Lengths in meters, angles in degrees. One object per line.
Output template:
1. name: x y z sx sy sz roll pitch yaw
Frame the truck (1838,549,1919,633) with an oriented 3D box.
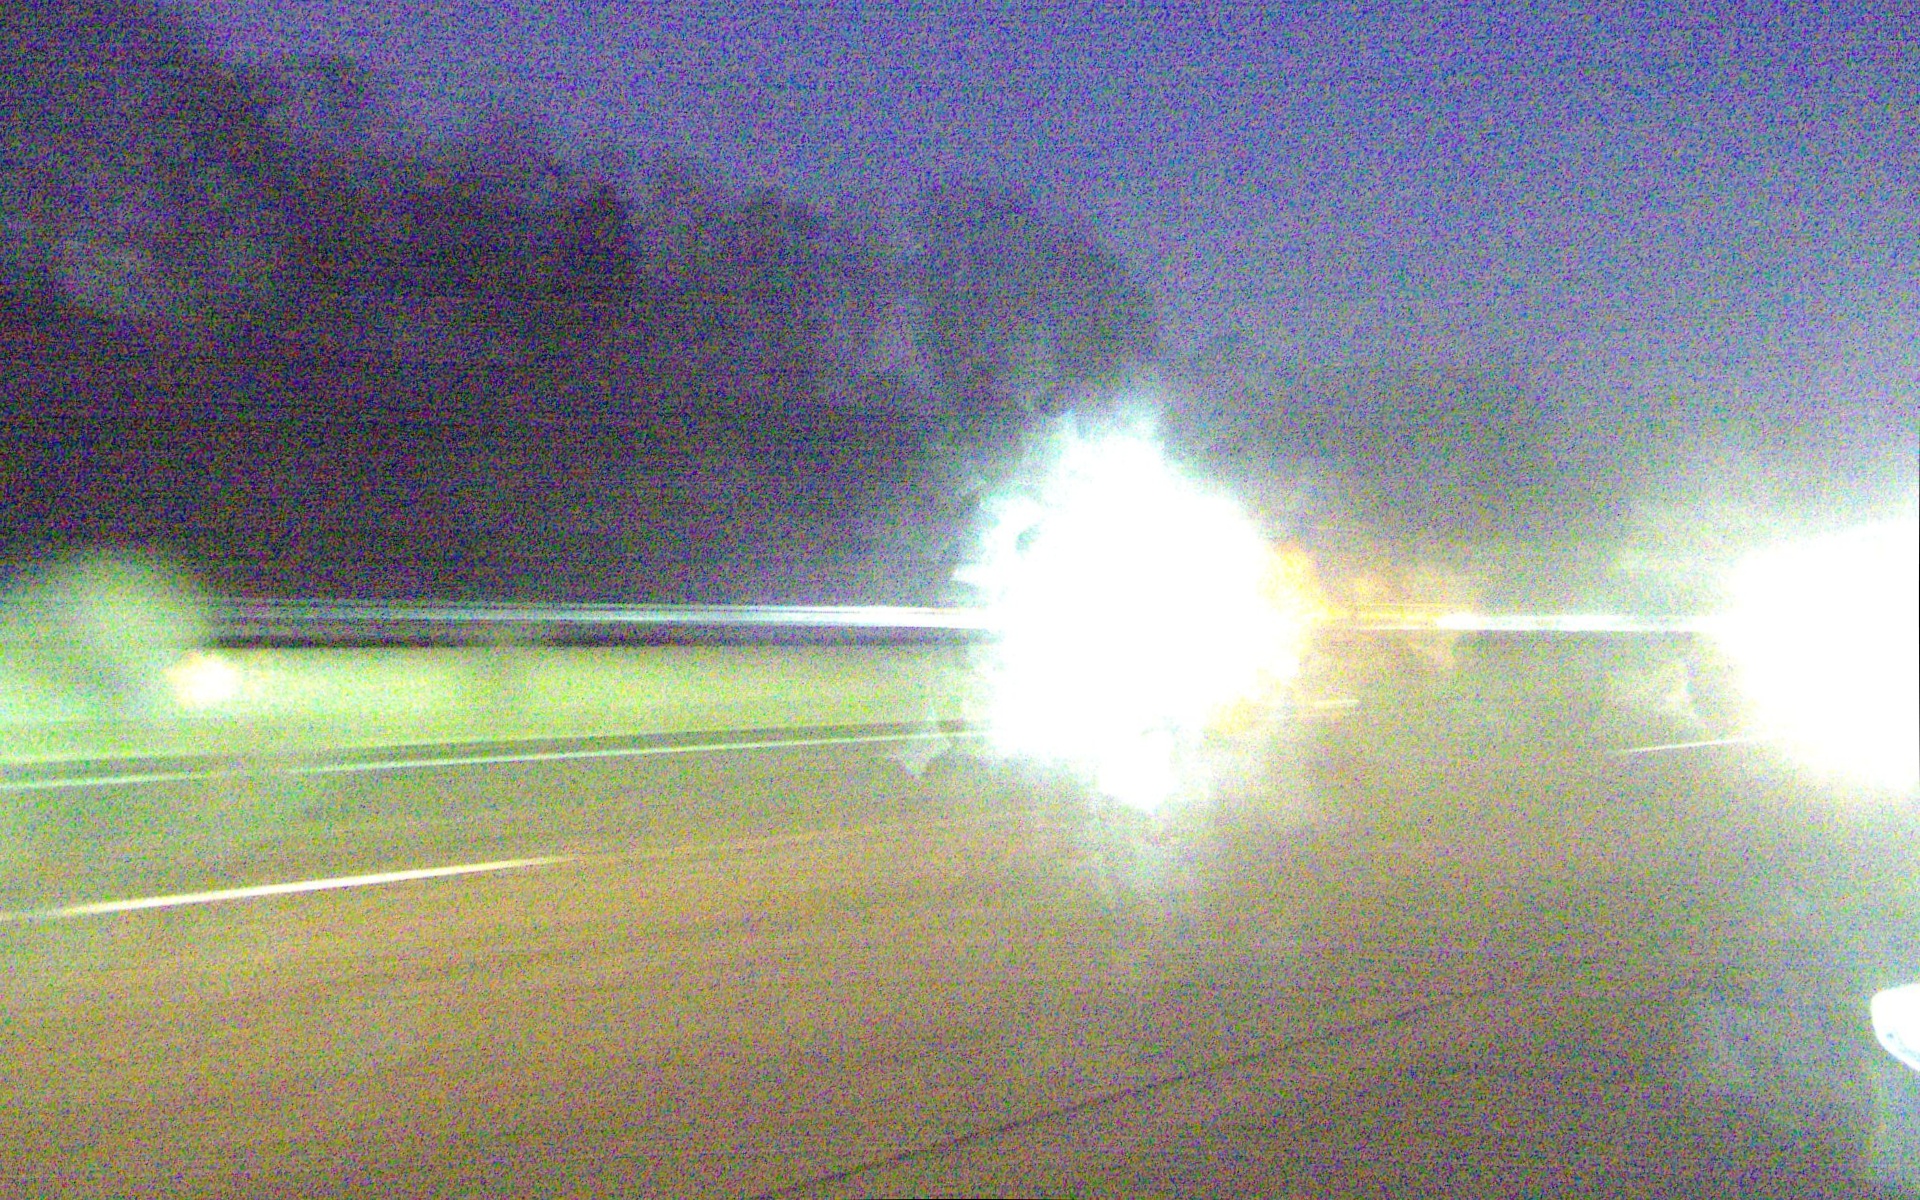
1. truck: 65.288 -0.554 69.059 10.359 5.211 4.314 1 5 -33

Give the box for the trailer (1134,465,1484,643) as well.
1. trailer: 13.070 -1.352 36.821 13.585 5.517 4.147 2 1 -30

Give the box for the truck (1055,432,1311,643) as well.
1. truck: 7.434 -1.833 33.500 7.258 6.210 4.148 2 1 -30
